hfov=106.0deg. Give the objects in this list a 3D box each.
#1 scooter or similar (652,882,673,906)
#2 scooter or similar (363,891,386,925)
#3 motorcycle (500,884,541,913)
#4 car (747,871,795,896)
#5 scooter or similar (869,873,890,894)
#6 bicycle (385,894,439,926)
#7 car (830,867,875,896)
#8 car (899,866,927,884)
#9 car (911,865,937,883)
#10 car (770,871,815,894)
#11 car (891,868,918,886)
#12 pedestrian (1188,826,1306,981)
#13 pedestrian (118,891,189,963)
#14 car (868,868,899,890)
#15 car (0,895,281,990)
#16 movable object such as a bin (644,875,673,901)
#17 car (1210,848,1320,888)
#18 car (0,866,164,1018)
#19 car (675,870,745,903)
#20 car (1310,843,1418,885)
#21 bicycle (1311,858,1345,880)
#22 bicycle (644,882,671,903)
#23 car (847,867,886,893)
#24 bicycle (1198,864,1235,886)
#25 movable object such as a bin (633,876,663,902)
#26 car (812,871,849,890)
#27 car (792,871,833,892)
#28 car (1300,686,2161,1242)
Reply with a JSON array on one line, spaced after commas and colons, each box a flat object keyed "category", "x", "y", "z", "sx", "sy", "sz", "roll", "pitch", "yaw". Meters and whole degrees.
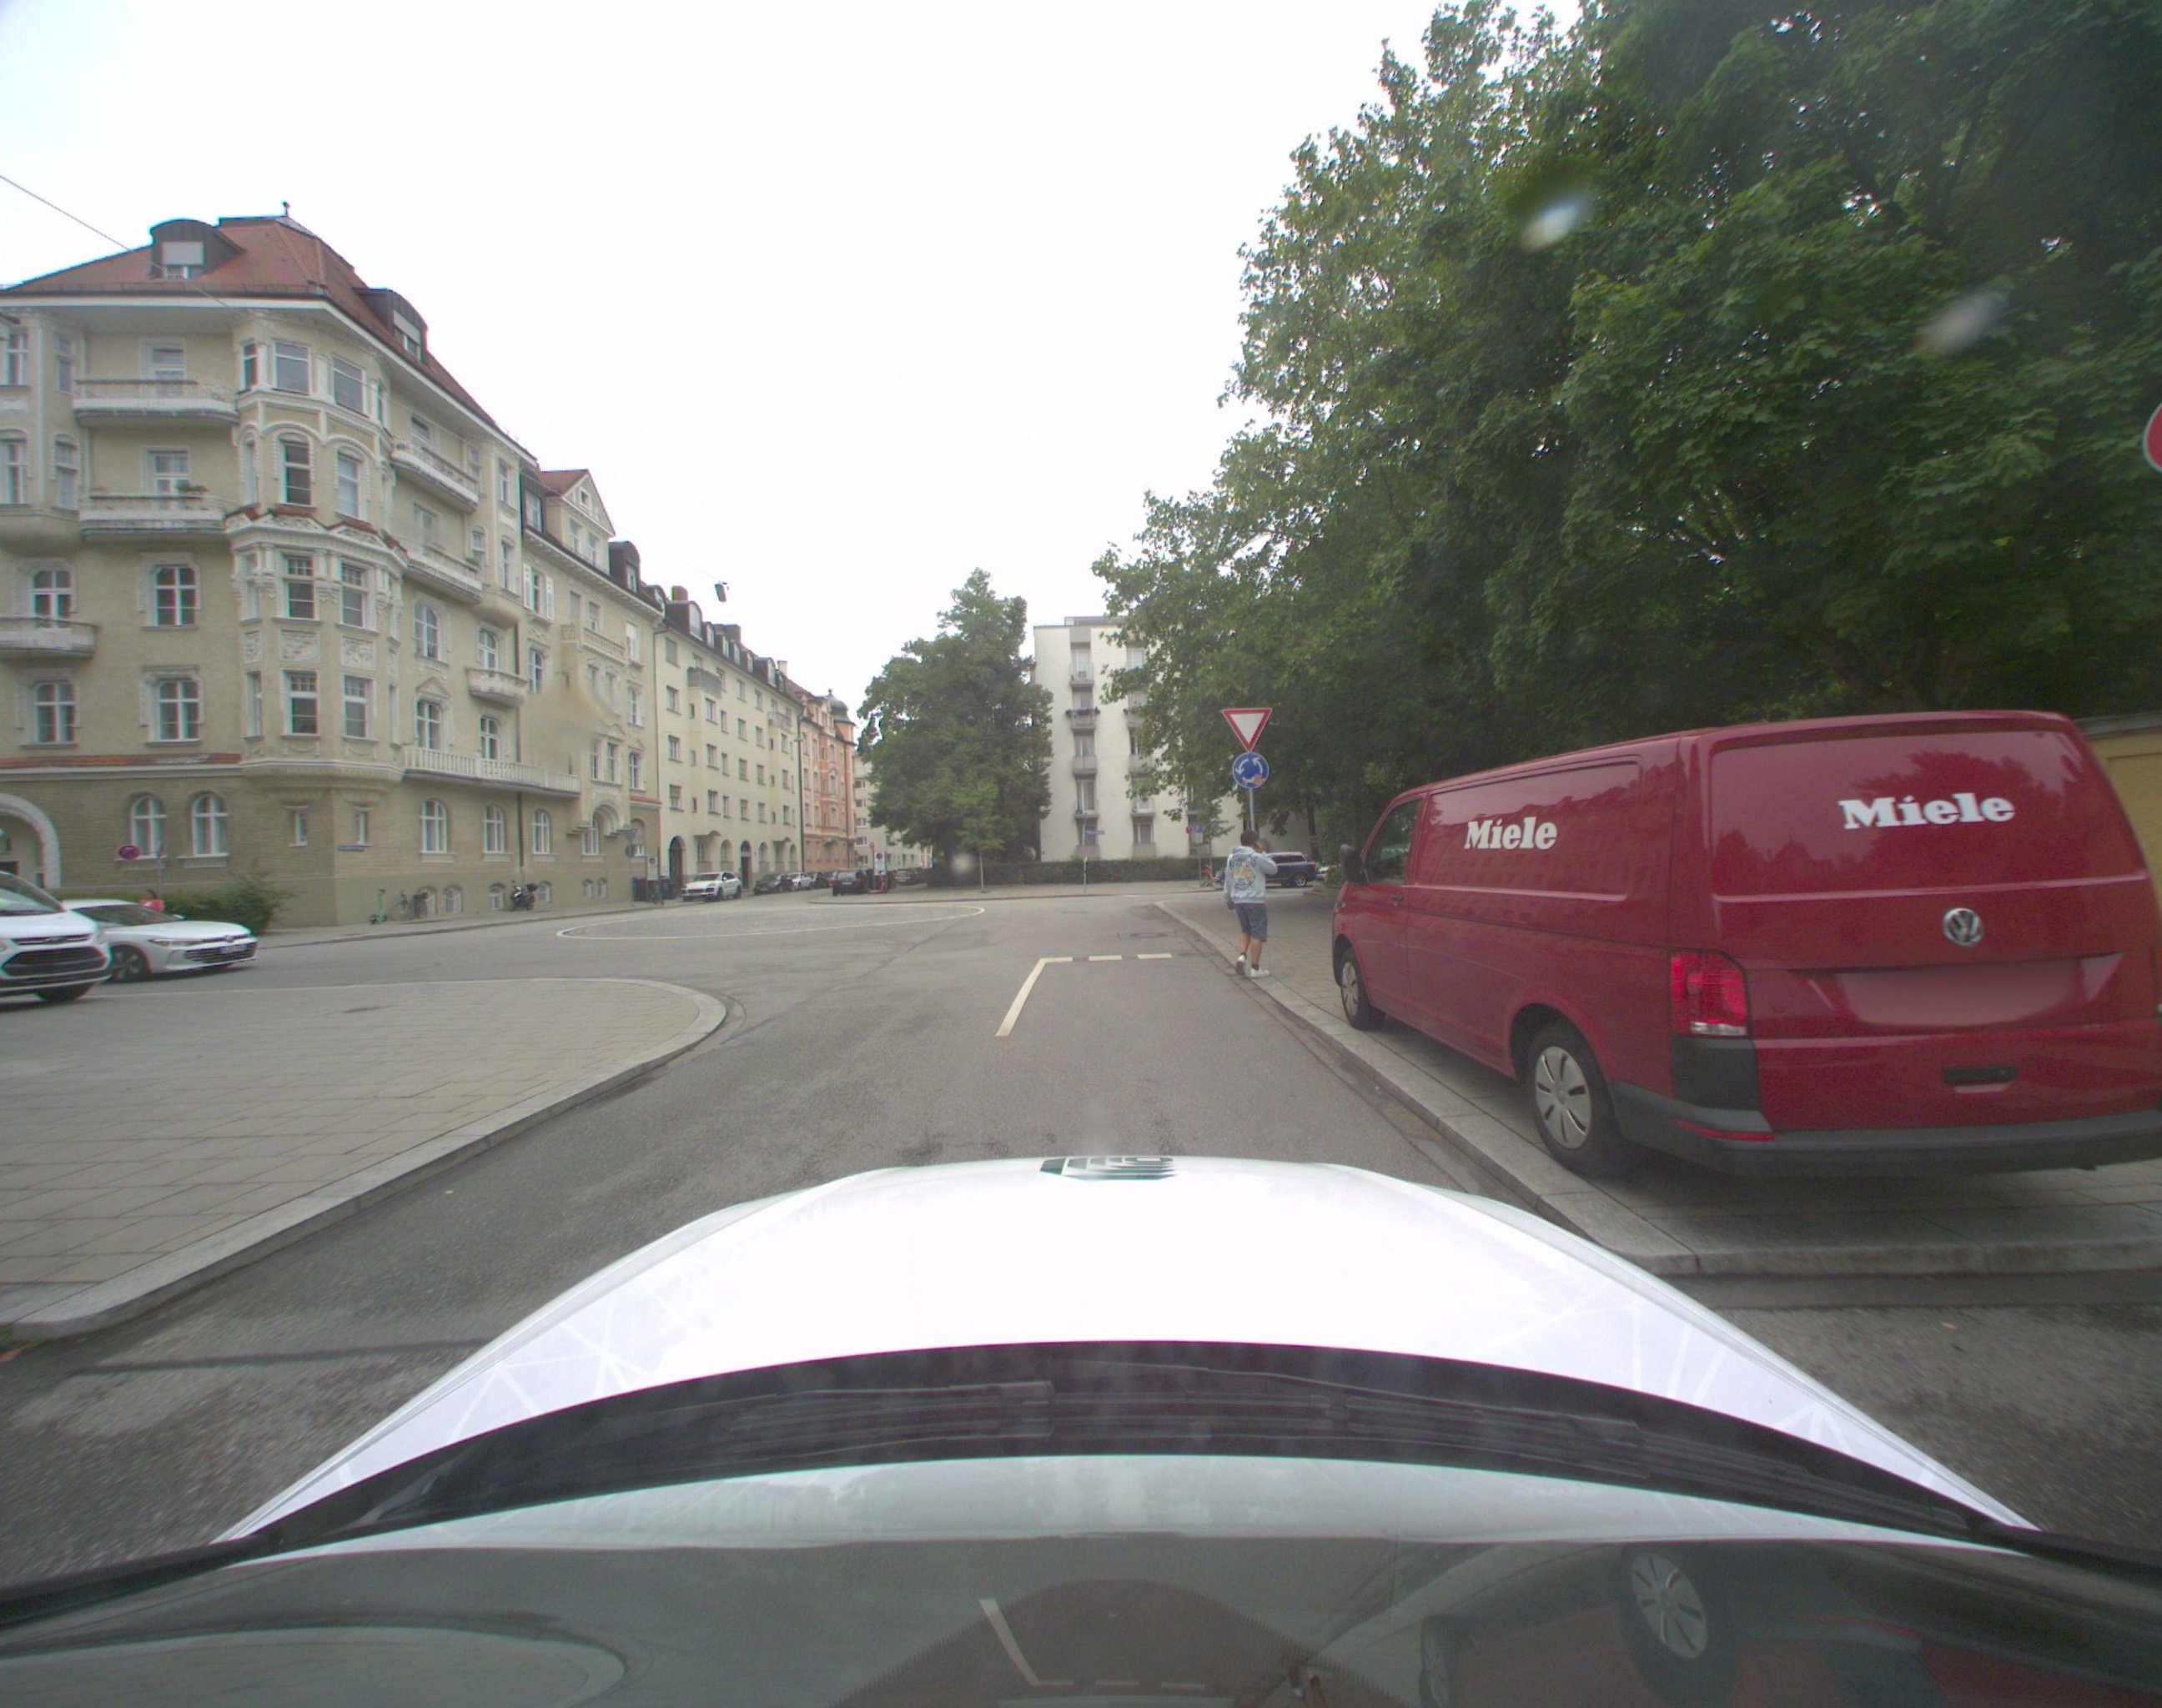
[{"category": "scooter or similar", "x": -21.464, "y": 2.049, "z": 41.787, "sx": 1.199, "sy": 1.193, "sz": 0.471, "roll": -2, "pitch": -1, "yaw": 36}, {"category": "scooter or similar", "x": -24.632, "y": 1.876, "z": 28.392, "sx": 0.469, "sy": 1.115, "sz": 1.202, "roll": -1, "pitch": -1, "yaw": -35}, {"category": "motorcycle", "x": -25.050, "y": 1.977, "z": 36.408, "sx": 0.597, "sy": 1.176, "sz": 1.828, "roll": -2, "pitch": -1, "yaw": -3}, {"category": "car", "x": -21.816, "y": 2.041, "z": 57.551, "sx": 1.973, "sy": 1.616, "sz": 4.703, "roll": -2, "pitch": -1, "yaw": -6}, {"category": "scooter or similar", "x": -11.049, "y": 1.629, "z": 44.625, "sx": 1.005, "sy": 1.088, "sz": 0.387, "roll": -1, "pitch": -1, "yaw": -30}, {"category": "bicycle", "x": -24.951, "y": 2.069, "z": 30.422, "sx": 0.561, "sy": 1.049, "sz": 1.828, "roll": -2, "pitch": 0, "yaw": -3}, {"category": "car", "x": -13.189, "y": 1.563, "z": 47.253, "sx": 1.817, "sy": 1.505, "sz": 4.410, "roll": -3, "pitch": 0, "yaw": -7}, {"category": "car", "x": -16.128, "y": 1.998, "z": 78.417, "sx": 1.830, "sy": 1.634, "sz": 4.112, "roll": -3, "pitch": 0, "yaw": -2}, {"category": "car", "x": -16.170, "y": 2.039, "z": 84.083, "sx": 1.829, "sy": 1.634, "sz": 3.819, "roll": -3, "pitch": 0, "yaw": 0}, {"category": "car", "x": -22.054, "y": 2.146, "z": 62.424, "sx": 1.970, "sy": 1.581, "sz": 4.405, "roll": -2, "pitch": -1, "yaw": -1}, {"category": "car", "x": -15.933, "y": 2.078, "z": 73.811, "sx": 1.833, "sy": 1.505, "sz": 4.107, "roll": -3, "pitch": 0, "yaw": -6}, {"category": "pedestrian", "x": 2.038, "y": 0.573, "z": 10.027, "sx": 1.056, "sy": 1.771, "sz": 0.867, "roll": -2, "pitch": -1, "yaw": -33}, {"category": "pedestrian", "x": -22.321, "y": 1.745, "z": 19.620, "sx": 0.730, "sy": 1.636, "sz": 0.853, "roll": -2, "pitch": -1, "yaw": -9}, {"category": "car", "x": -15.189, "y": 1.872, "z": 62.735, "sx": 1.792, "sy": 1.505, "sz": 4.104, "roll": -3, "pitch": 0, "yaw": -7}, {"category": "car", "x": -18.371, "y": 1.614, "z": 14.988, "sx": 4.881, "sy": 1.448, "sz": 1.882, "roll": -2, "pitch": -1, "yaw": -14}, {"category": "movable object such as a bin", "x": -25.106, "y": 2.017, "z": 48.433, "sx": 1.088, "sy": 1.425, "sz": 1.173, "roll": -2, "pitch": -1, "yaw": -1}, {"category": "car", "x": 9.101, "y": 0.710, "z": 40.424, "sx": 4.893, "sy": 1.792, "sz": 1.995, "roll": -2, "pitch": -2, "yaw": -8}, {"category": "car", "x": -15.931, "y": 1.199, "z": 10.908, "sx": 4.883, "sy": 1.881, "sz": 1.923, "roll": -2, "pitch": -1, "yaw": -3}, {"category": "car", "x": -21.306, "y": 1.801, "z": 47.011, "sx": 1.971, "sy": 1.701, "sz": 4.835, "roll": -2, "pitch": -1, "yaw": -3}, {"category": "car", "x": 14.325, "y": 0.524, "z": 41.266, "sx": 4.831, "sy": 1.918, "sz": 1.830, "roll": -2, "pitch": -2, "yaw": -9}, {"category": "bicycle", "x": 13.105, "y": 0.815, "z": 43.292, "sx": 0.539, "sy": 1.149, "sz": 1.813, "roll": -2, "pitch": -1, "yaw": -30}, {"category": "bicycle", "x": -23.163, "y": 2.109, "z": 44.541, "sx": 0.561, "sy": 1.049, "sz": 1.828, "roll": -2, "pitch": 0, "yaw": -3}, {"category": "car", "x": -13.786, "y": 1.660, "z": 52.470, "sx": 1.792, "sy": 1.505, "sz": 4.223, "roll": -3, "pitch": 0, "yaw": -7}, {"category": "bicycle", "x": 7.094, "y": 1.102, "z": 42.734, "sx": 1.827, "sy": 1.049, "sz": 0.489, "roll": -2, "pitch": -1, "yaw": -14}, {"category": "movable object such as a bin", "x": -25.096, "y": 2.004, "z": 47.236, "sx": 1.088, "sy": 1.425, "sz": 1.173, "roll": -2, "pitch": -1, "yaw": -1}, {"category": "car", "x": -22.302, "y": 2.324, "z": 72.582, "sx": 1.969, "sy": 1.581, "sz": 4.406, "roll": -2, "pitch": -1, "yaw": -1}, {"category": "car", "x": -22.206, "y": 2.238, "z": 67.585, "sx": 1.970, "sy": 1.581, "sz": 4.406, "roll": -2, "pitch": -1, "yaw": -1}, {"category": "car", "x": 3.018, "y": 0.399, "z": 5.303, "sx": 1.868, "sy": 1.921, "sz": 4.887, "roll": -1, "pitch": -1, "yaw": 0}]
